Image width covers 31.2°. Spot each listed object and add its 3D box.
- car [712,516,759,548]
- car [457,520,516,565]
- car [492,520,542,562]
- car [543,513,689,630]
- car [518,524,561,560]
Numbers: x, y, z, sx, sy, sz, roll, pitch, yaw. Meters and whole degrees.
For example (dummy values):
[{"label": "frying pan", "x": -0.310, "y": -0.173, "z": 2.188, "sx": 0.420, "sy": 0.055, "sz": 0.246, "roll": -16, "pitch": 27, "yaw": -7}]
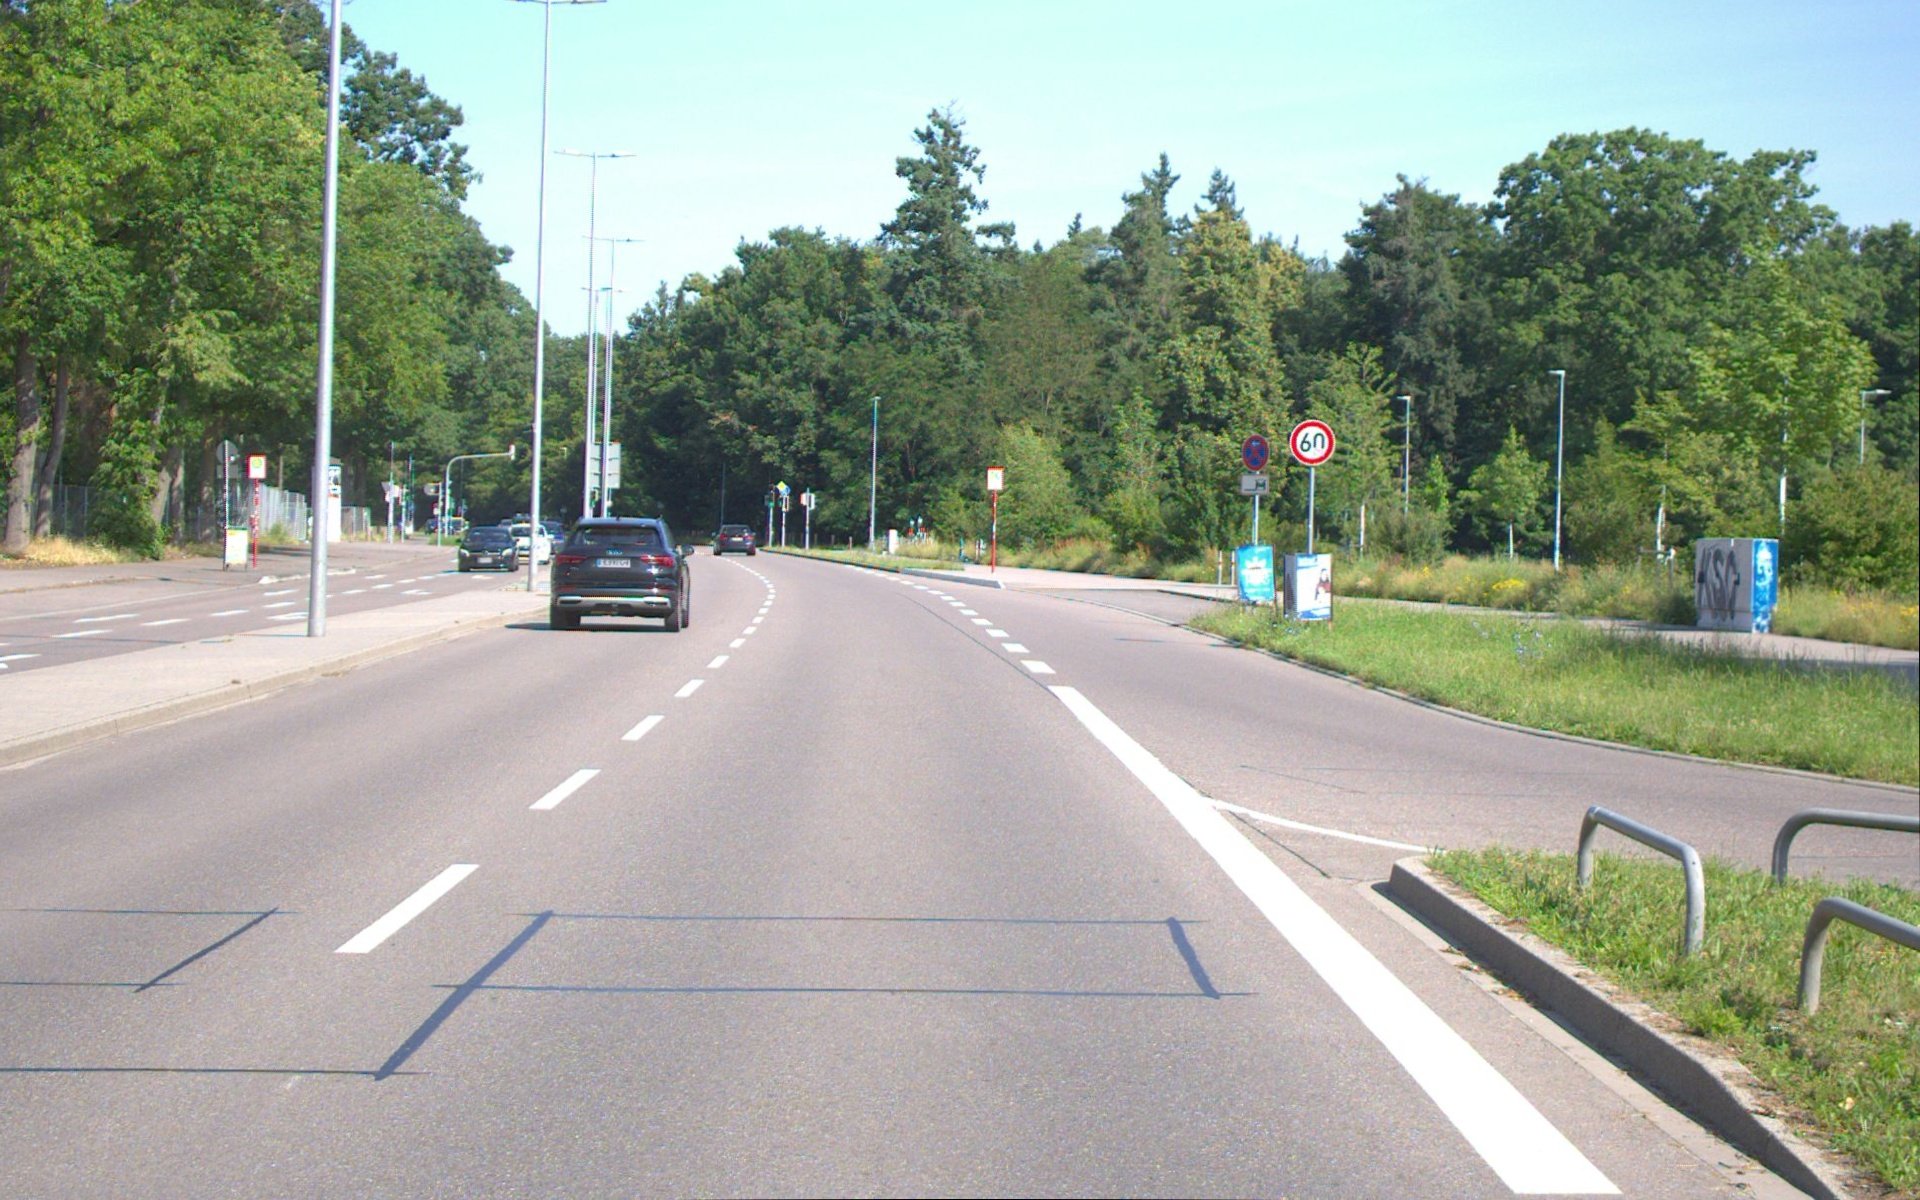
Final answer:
[{"label": "car", "x": -10.433, "y": -3.162, "z": 159.421, "sx": 1.940, "sy": 1.415, "sz": 4.294, "roll": 2, "pitch": 2, "yaw": -6}, {"label": "car", "x": -15.096, "y": -1.848, "z": 109.648, "sx": 1.810, "sy": 1.383, "sz": 4.163, "roll": -1, "pitch": 2, "yaw": -7}, {"label": "car", "x": -16.206, "y": -2.176, "z": 125.922, "sx": 1.622, "sy": 1.461, "sz": 3.801, "roll": -1, "pitch": 2, "yaw": -4}, {"label": "car", "x": -4.819, "y": -0.436, "z": 48.651, "sx": 1.687, "sy": 1.539, "sz": 4.149, "roll": 1, "pitch": 2, "yaw": -1}, {"label": "car", "x": -17.695, "y": -2.442, "z": 144.759, "sx": 1.753, "sy": 1.481, "sz": 3.948, "roll": 0, "pitch": 2, "yaw": -7}]
